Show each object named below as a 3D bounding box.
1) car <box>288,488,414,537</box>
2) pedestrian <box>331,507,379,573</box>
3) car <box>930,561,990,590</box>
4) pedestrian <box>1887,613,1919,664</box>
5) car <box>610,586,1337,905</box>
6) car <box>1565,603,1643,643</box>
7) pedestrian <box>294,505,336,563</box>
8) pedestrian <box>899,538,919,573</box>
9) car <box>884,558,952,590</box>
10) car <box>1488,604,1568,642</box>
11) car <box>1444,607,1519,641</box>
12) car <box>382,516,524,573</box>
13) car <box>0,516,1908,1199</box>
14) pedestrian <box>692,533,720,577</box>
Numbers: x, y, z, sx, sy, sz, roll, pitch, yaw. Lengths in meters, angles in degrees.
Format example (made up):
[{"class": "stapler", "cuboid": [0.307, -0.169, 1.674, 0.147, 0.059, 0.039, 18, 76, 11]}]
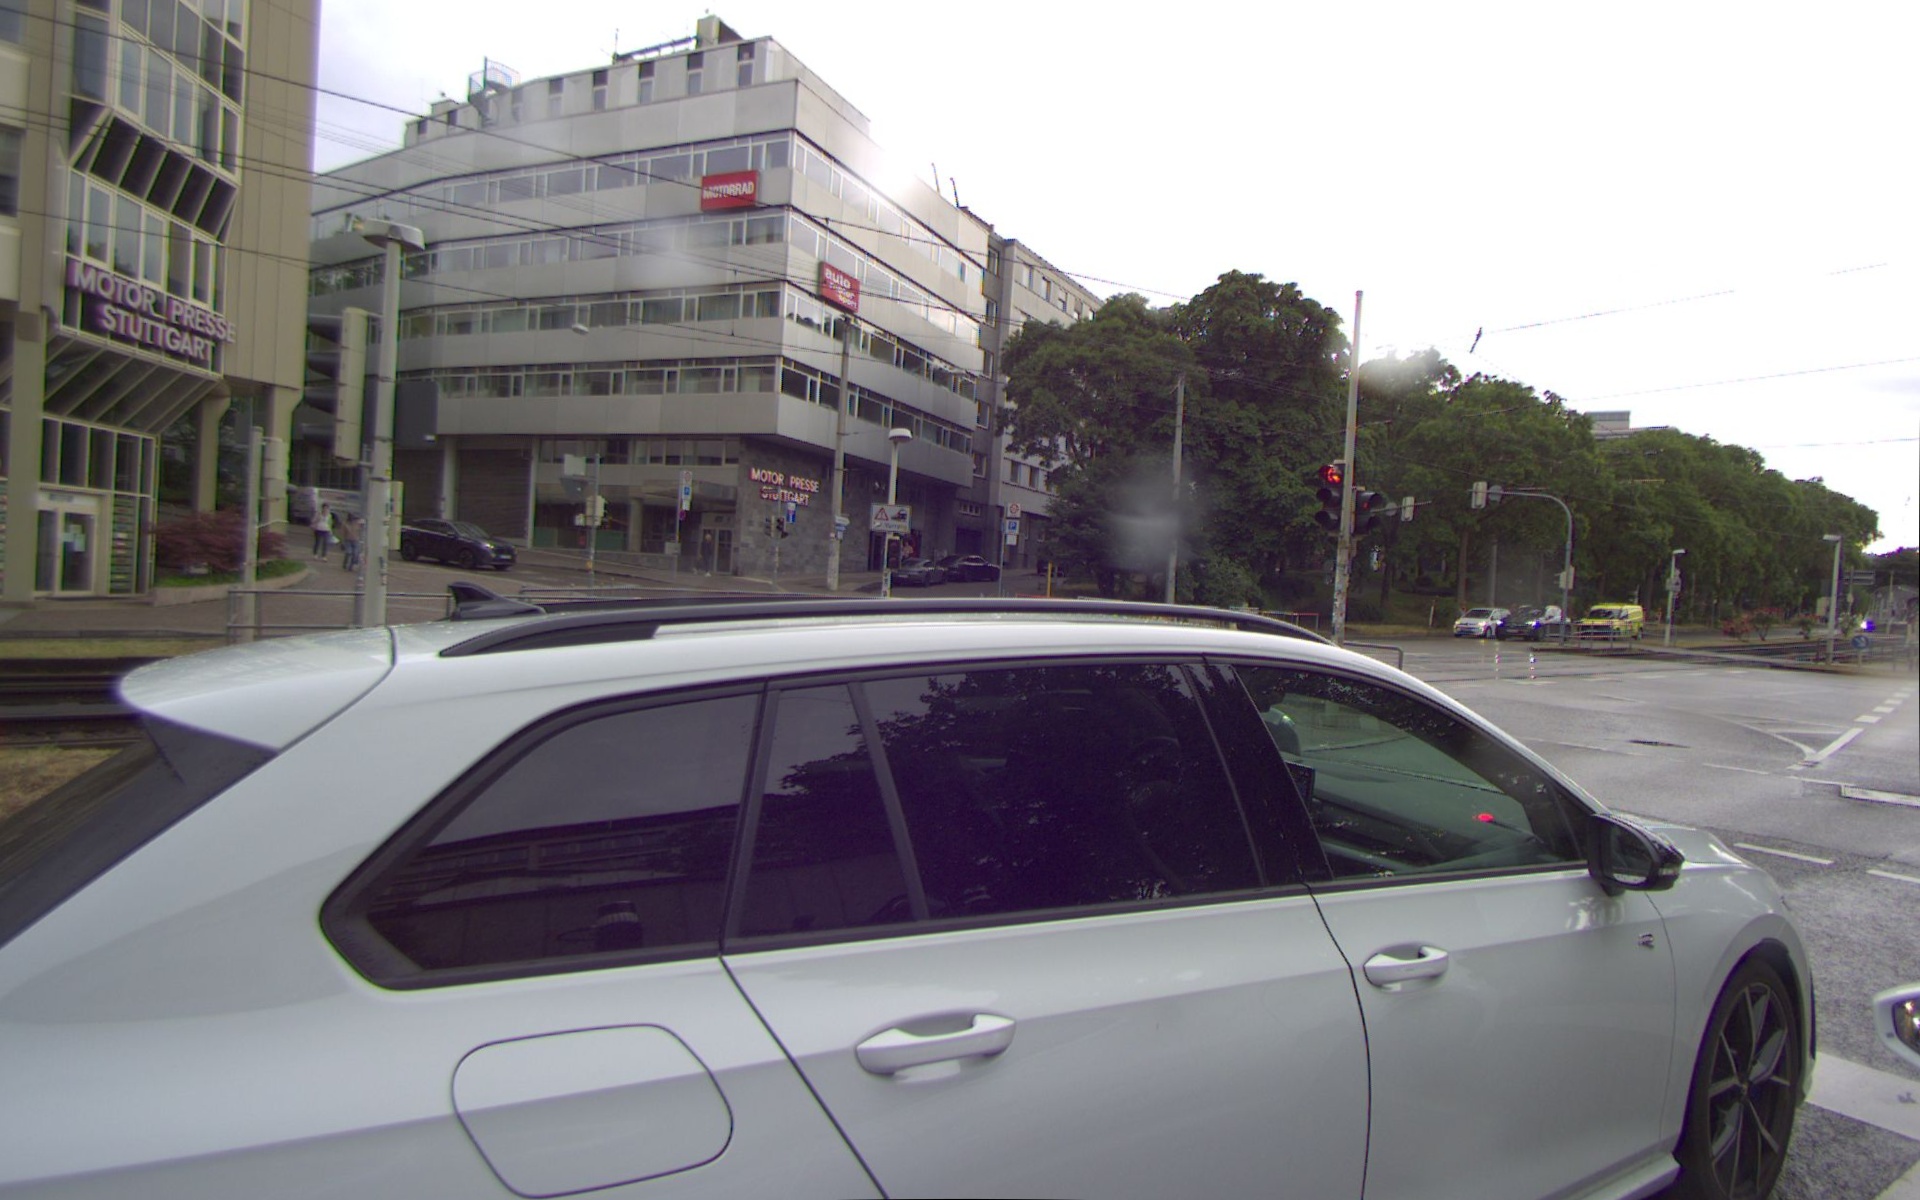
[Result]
[{"class": "car", "cuboid": [-32.017, -4.543, 53.012, 1.964, 2.040, 5.403, 2, 0, 30]}, {"class": "pedestrian", "cuboid": [-17.465, -1.731, 29.002, 0.746, 1.811, 0.830, 5, 2, 25]}, {"class": "car", "cuboid": [0.045, -1.355, 55.604, 1.842, 1.450, 3.998, 3, 2, 22]}, {"class": "pedestrian", "cuboid": [35.248, 1.431, 37.446, 0.862, 1.826, 0.860, 1, 3, -44]}, {"class": "car", "cuboid": [0.213, 0.721, 6.506, 4.423, 1.461, 1.787, 2, 0, -30]}, {"class": "car", "cuboid": [33.307, 1.202, 51.930, 4.525, 1.875, 1.905, 2, 1, -38]}, {"class": "pedestrian", "cuboid": [-19.544, -2.000, 30.435, 0.746, 1.661, 0.719, 5, 2, 25]}, {"class": "pedestrian", "cuboid": [-2.850, -2.480, 56.200, 0.707, 1.886, 0.758, 5, 4, 31]}, {"class": "car", "cuboid": [-2.045, -1.295, 50.630, 1.842, 1.450, 4.091, 3, 2, 22]}, {"class": "car", "cuboid": [26.346, 1.073, 46.562, 3.648, 1.566, 1.905, 2, 1, -37]}, {"class": "car", "cuboid": [26.078, 1.211, 50.206, 3.648, 1.566, 1.905, 2, 1, -37]}, {"class": "car", "cuboid": [-18.829, -2.045, 37.281, 4.794, 1.601, 1.999, 7, 3, 23]}, {"class": "car", "cuboid": [0.316, 0.705, 2.493, 4.423, 1.461, 1.787, 2, 0, -30]}, {"class": "pedestrian", "cuboid": [-11.225, -1.992, 44.399, 0.833, 1.886, 0.719, 5, 2, 25]}]
